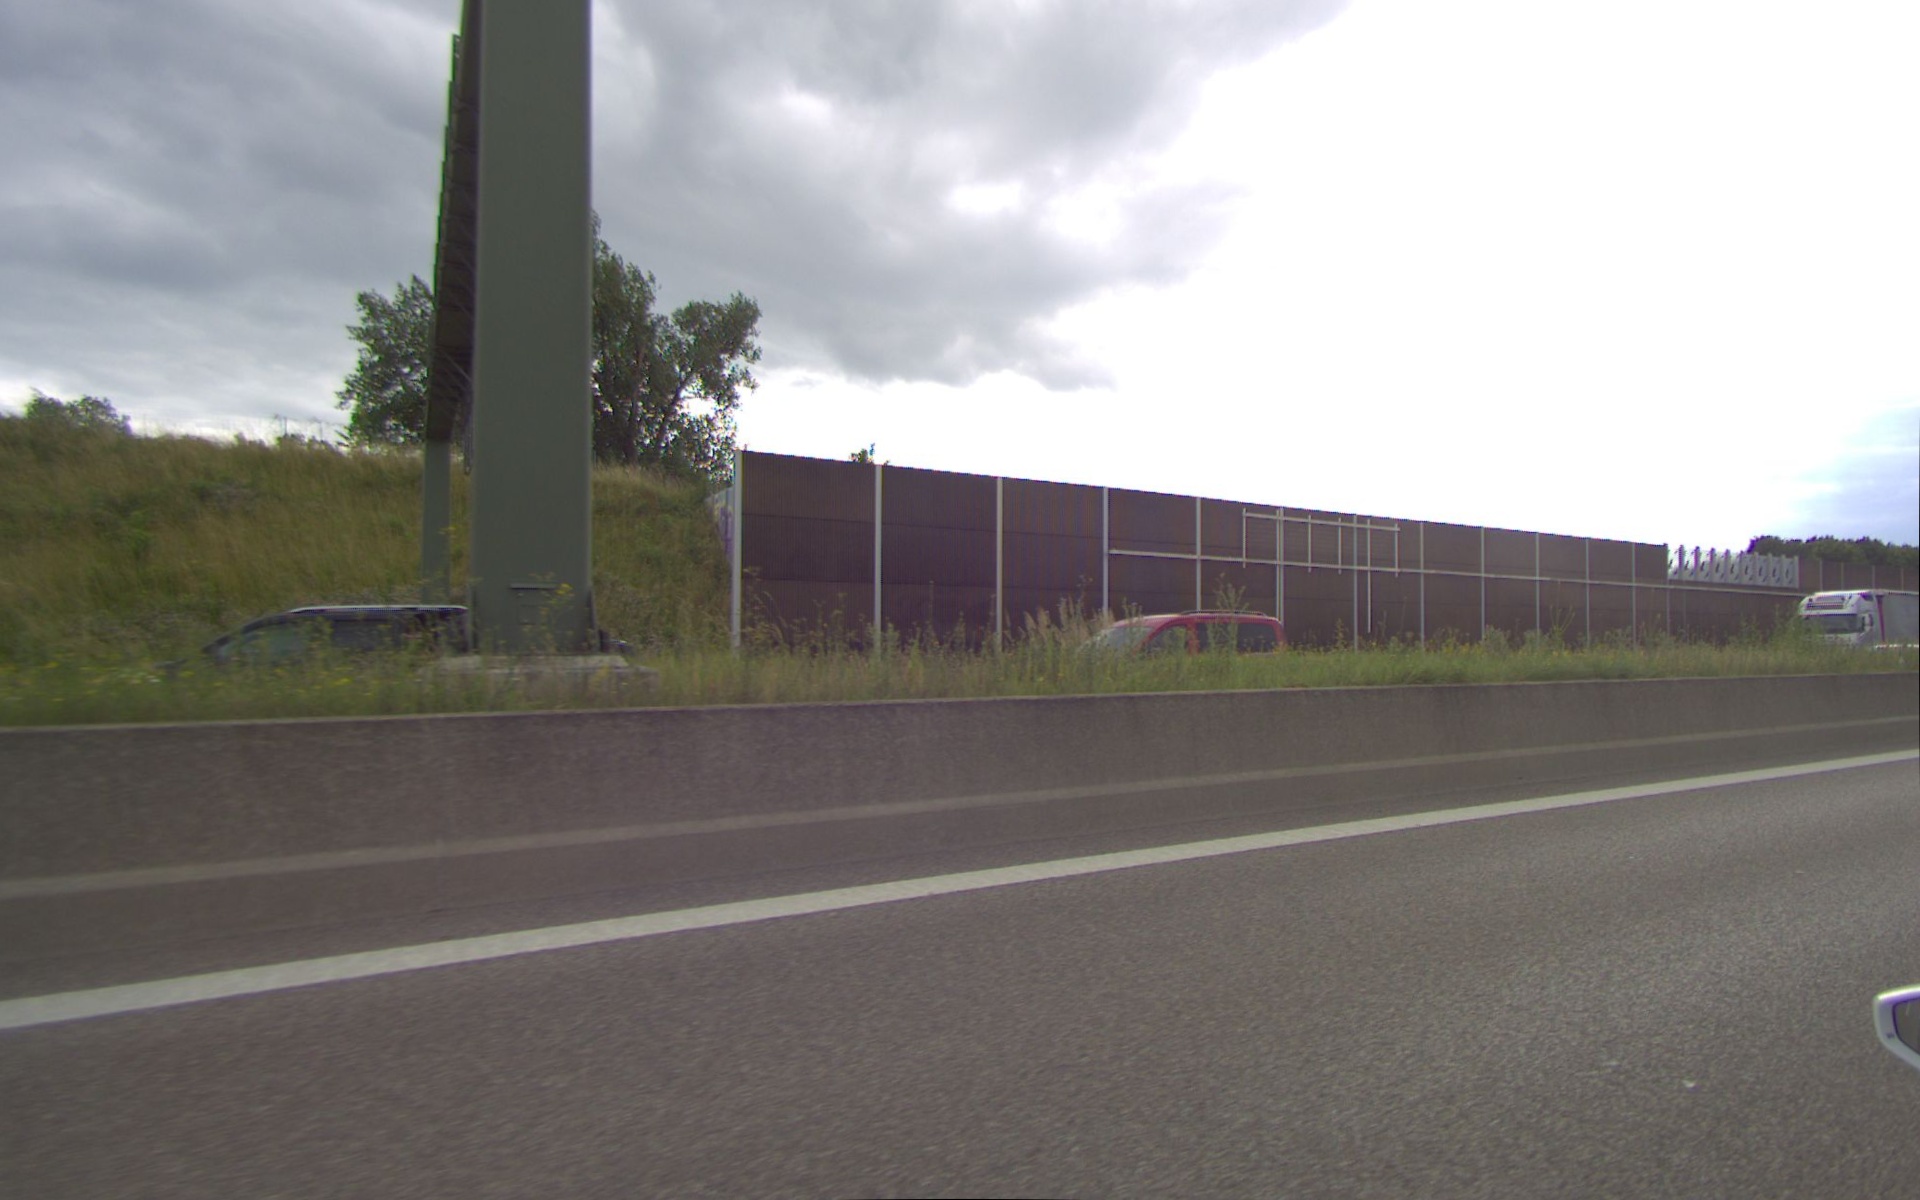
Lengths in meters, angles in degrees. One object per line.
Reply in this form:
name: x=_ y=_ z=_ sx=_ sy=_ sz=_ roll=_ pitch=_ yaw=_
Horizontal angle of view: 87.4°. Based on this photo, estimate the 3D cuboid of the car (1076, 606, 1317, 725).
car: x=3.902 y=1.025 z=16.483 sx=3.664 sy=1.718 sz=1.704 roll=2 pitch=0 yaw=-30

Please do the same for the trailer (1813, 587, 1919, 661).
trailer: x=47.606 y=1.291 z=50.617 sx=13.351 sy=3.421 sz=2.807 roll=2 pitch=-2 yaw=-30

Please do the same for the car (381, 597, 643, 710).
car: x=-6.521 y=0.749 z=14.695 sx=3.326 sy=1.468 sz=1.562 roll=2 pitch=0 yaw=-30

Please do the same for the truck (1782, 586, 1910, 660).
truck: x=41.558 y=1.121 z=47.075 sx=5.910 sy=3.270 sz=2.811 roll=2 pitch=-1 yaw=-30
